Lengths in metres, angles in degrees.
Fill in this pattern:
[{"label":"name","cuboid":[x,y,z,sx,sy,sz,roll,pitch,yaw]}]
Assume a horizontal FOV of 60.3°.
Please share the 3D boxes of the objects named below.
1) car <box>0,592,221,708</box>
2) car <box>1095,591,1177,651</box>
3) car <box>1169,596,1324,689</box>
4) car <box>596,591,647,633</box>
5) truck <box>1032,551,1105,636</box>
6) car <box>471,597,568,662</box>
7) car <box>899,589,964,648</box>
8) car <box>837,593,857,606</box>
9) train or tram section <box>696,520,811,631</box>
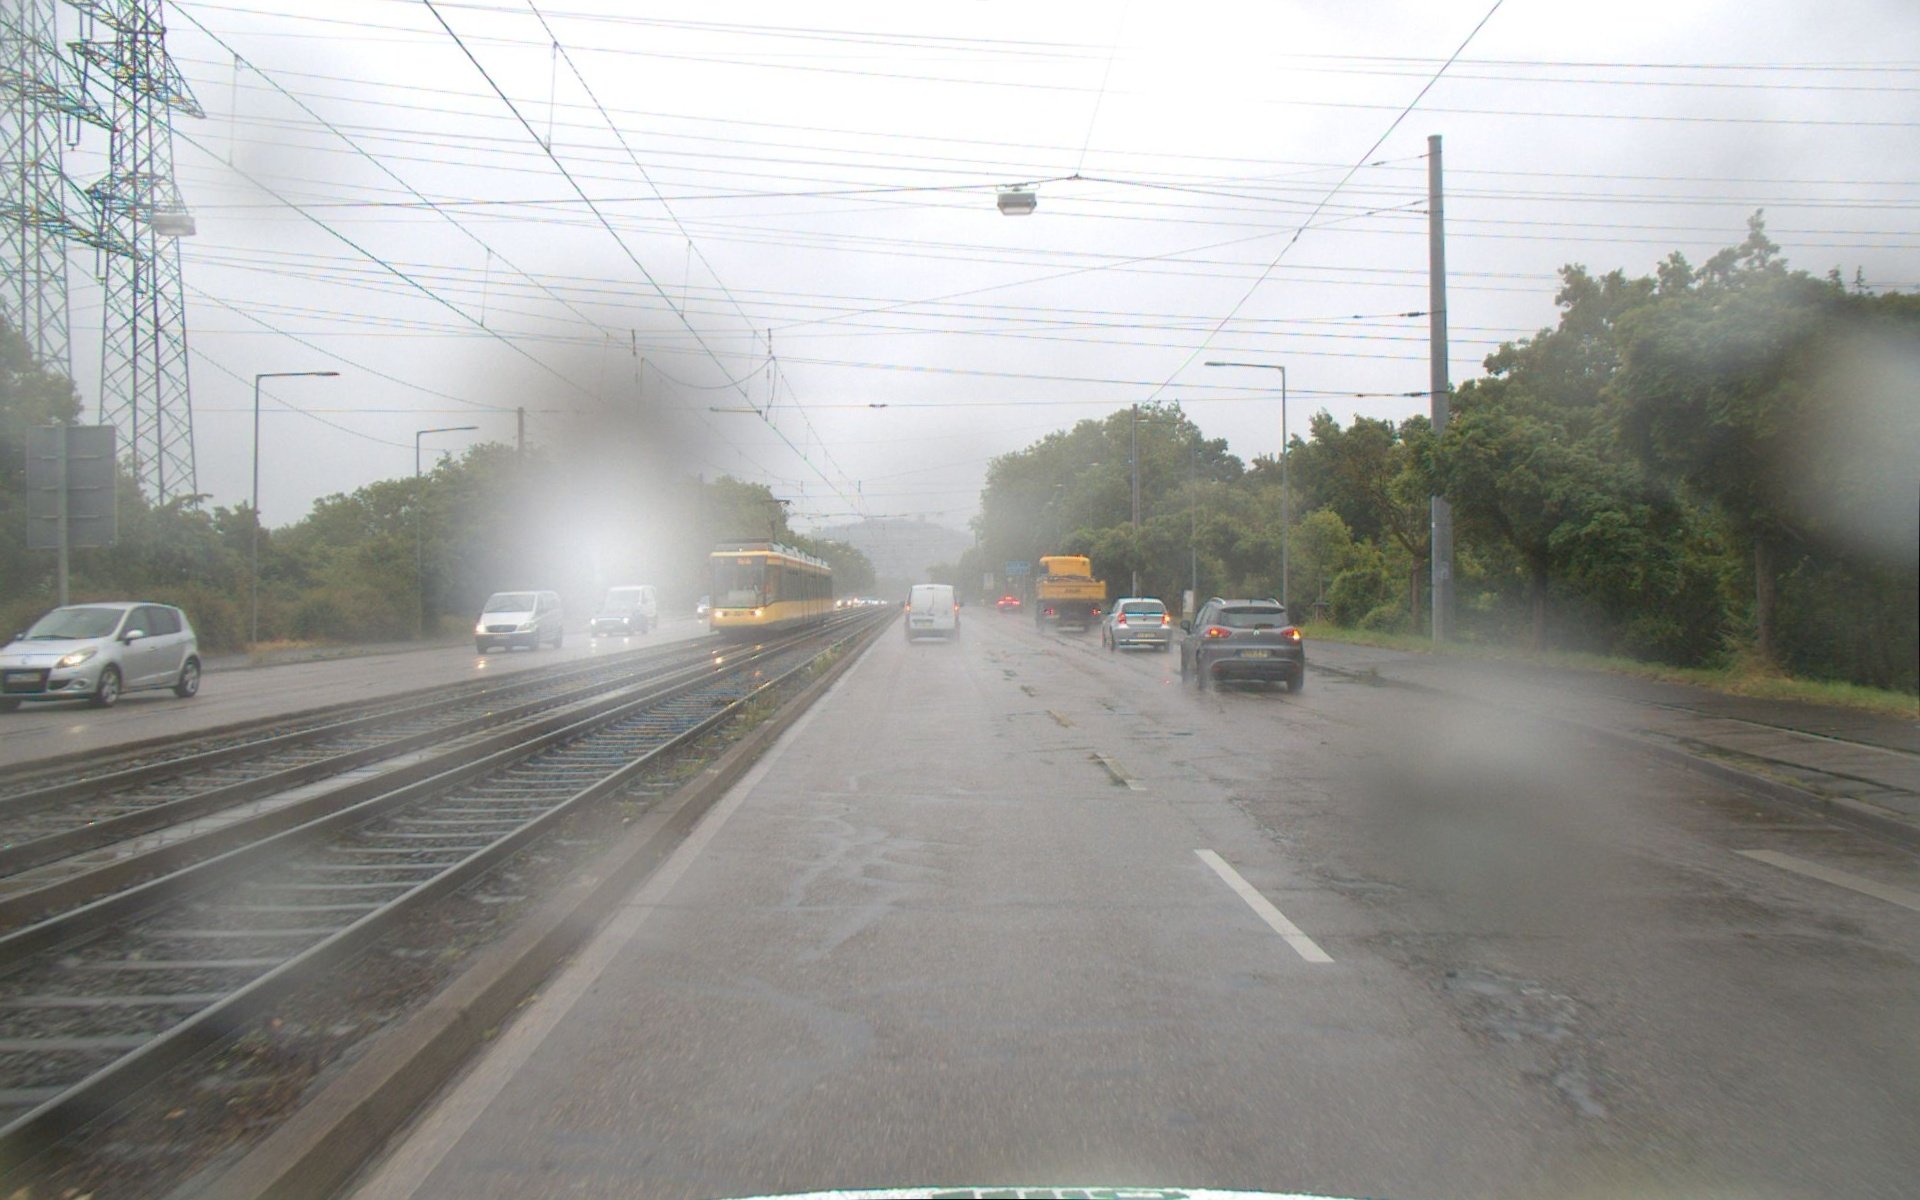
[{"label":"car","cuboid":[-13.983,0.747,27.028,1.849,1.671,4.347,1,1,0]},{"label":"car","cuboid":[4.881,0.546,46.364,1.594,1.529,4.604,0,1,-3]},{"label":"car","cuboid":[4.749,0.660,27.956,1.849,1.380,4.277,1,1,0]},{"label":"car","cuboid":[-15.129,0.507,74.045,1.633,1.753,3.731,0,1,-2]},{"label":"truck","cuboid":[4.402,-0.318,68.235,2.503,3.314,6.933,1,1,0]},{"label":"car","cuboid":[-14.042,0.905,52.986,1.849,1.917,4.622,1,1,0]},{"label":"car","cuboid":[-0.852,0.539,51.803,1.948,1.713,3.740,1,1,0]},{"label":"car","cuboid":[-14.382,-0.032,210.141,1.952,1.489,5.252,-3,1,1]},{"label":"train or tram section","cuboid":[-7.866,-0.996,65.541,2.807,3.770,17.885,0,1,-2]}]
